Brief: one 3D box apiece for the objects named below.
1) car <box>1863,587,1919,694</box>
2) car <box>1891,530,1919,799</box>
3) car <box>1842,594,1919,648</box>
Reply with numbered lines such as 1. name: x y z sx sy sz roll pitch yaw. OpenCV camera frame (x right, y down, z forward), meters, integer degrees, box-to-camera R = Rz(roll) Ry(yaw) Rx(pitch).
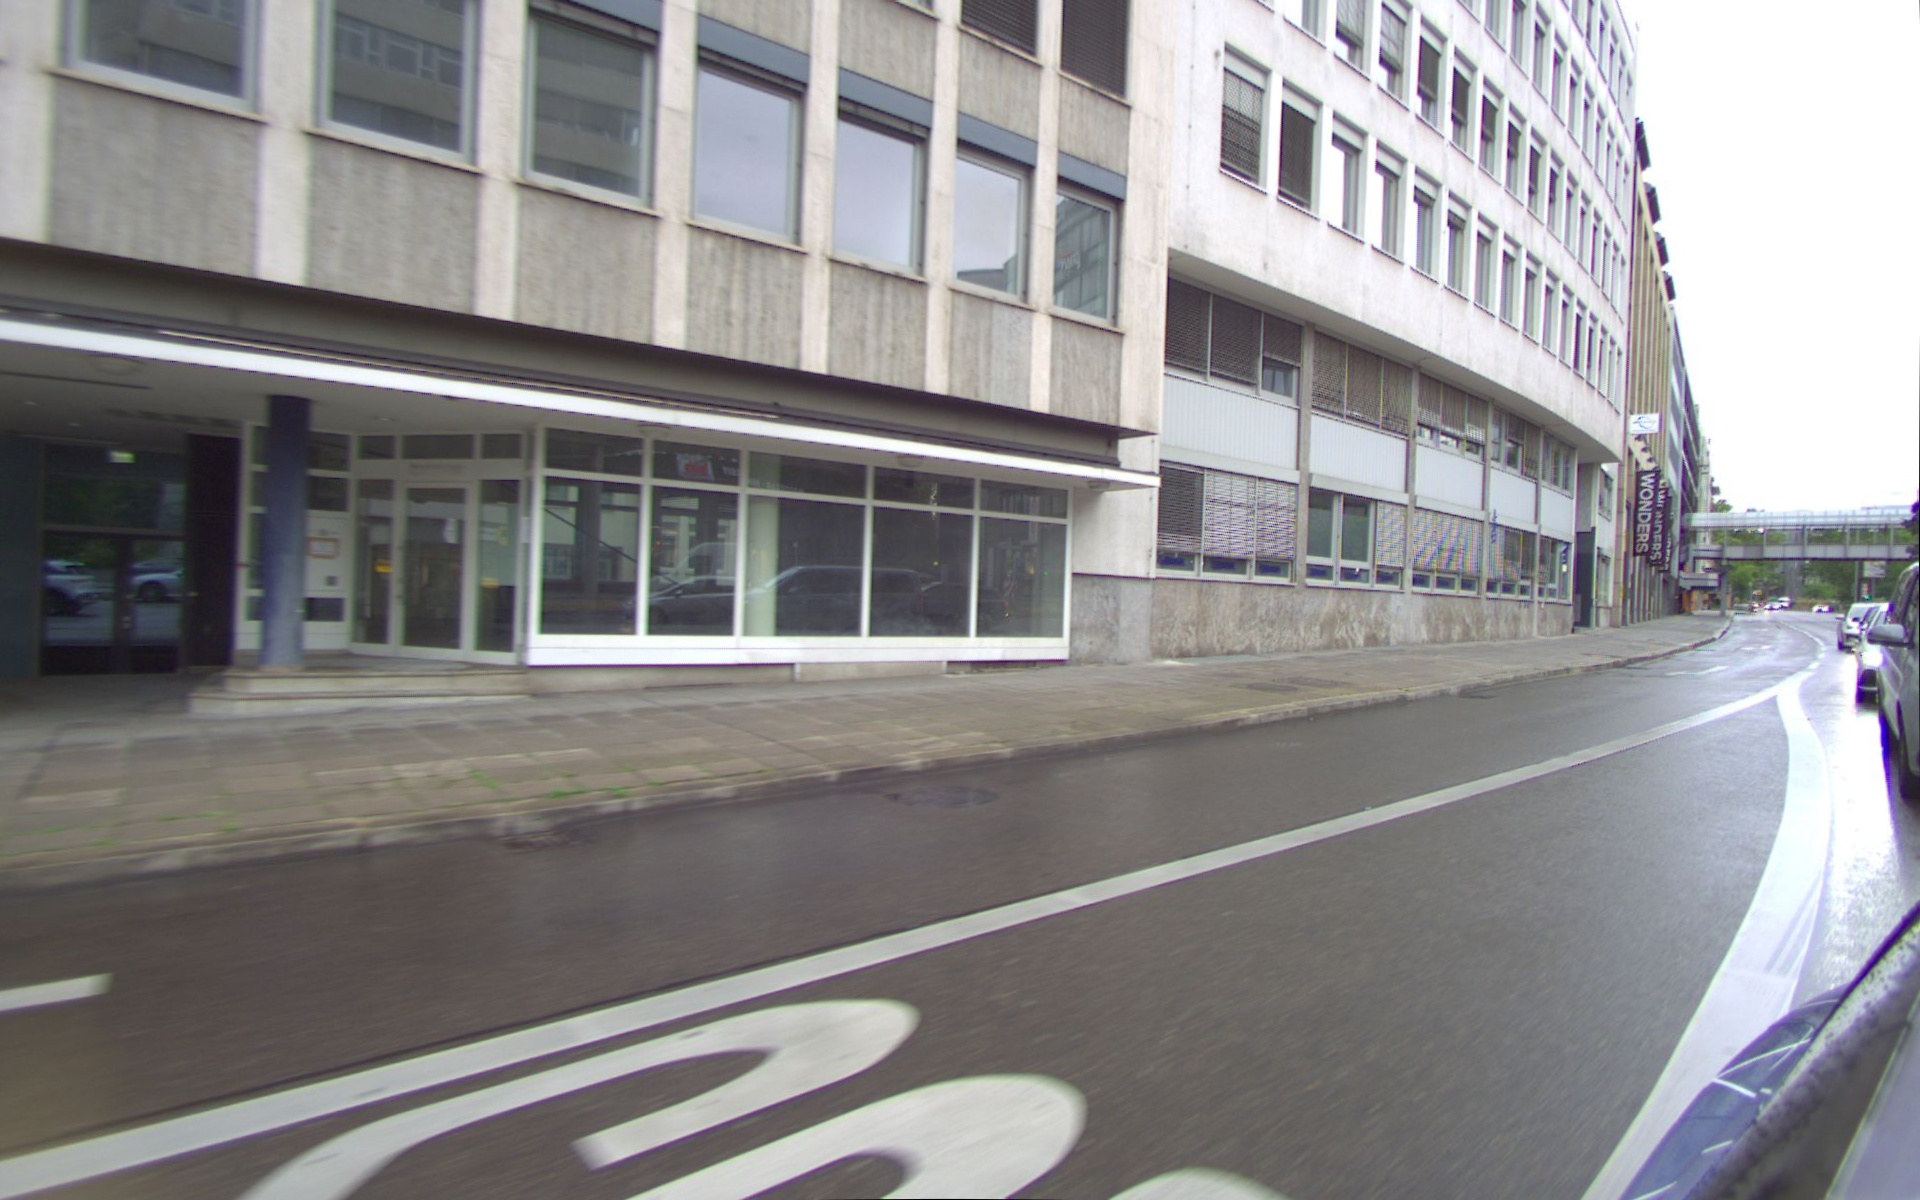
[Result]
1. car: 15.139 0.604 15.487 1.924 1.498 3.938 1 0 42
2. car: 9.018 0.452 8.309 1.910 1.879 4.951 0 0 42
3. car: 28.160 0.593 30.960 1.717 1.483 3.975 0 1 42
